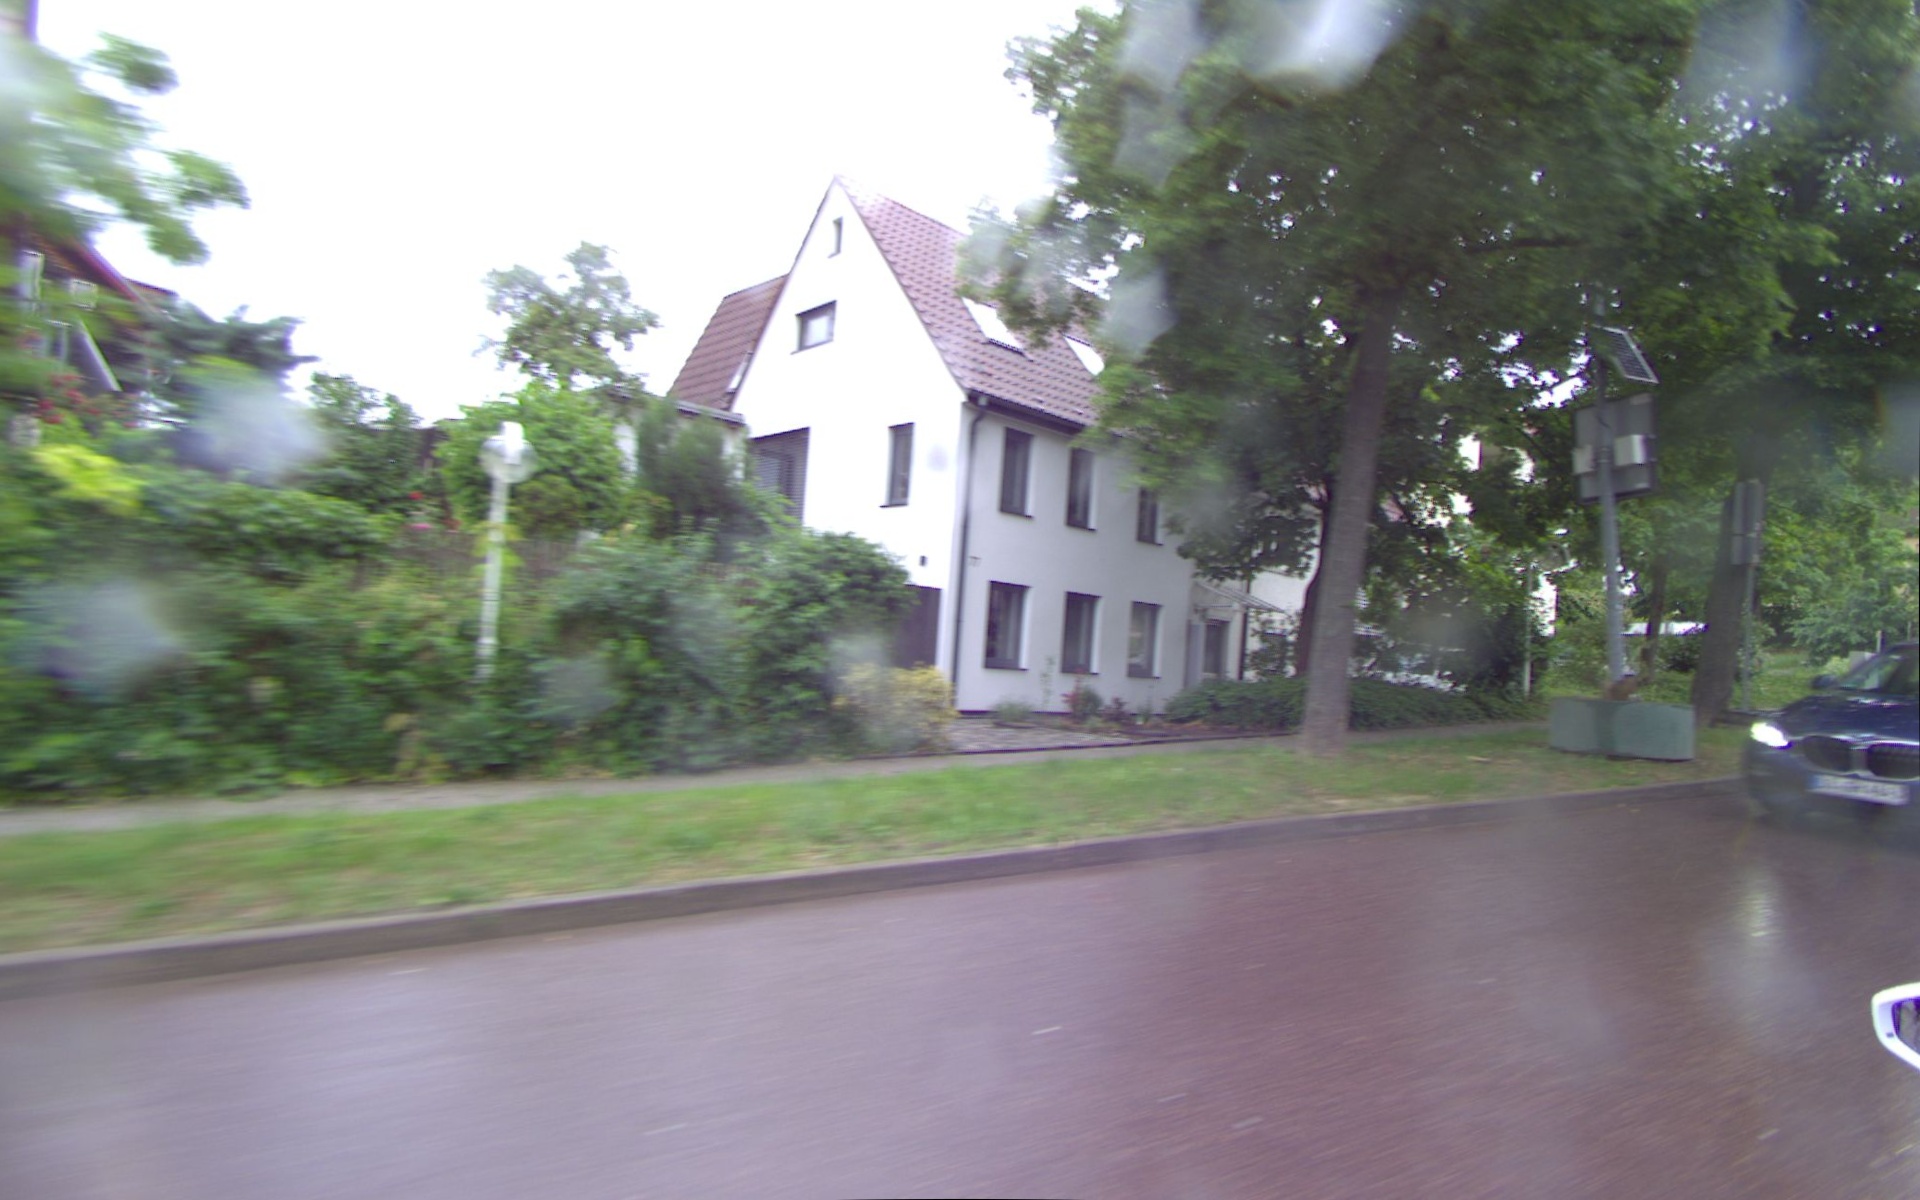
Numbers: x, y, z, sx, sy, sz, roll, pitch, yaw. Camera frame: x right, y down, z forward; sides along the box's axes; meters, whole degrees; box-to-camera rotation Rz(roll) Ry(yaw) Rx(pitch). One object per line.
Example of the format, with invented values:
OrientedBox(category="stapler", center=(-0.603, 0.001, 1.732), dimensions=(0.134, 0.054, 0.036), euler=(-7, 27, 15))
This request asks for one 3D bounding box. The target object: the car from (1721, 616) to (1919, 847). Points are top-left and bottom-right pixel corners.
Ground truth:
OrientedBox(category="car", center=(7.842, 0.910, 7.634), dimensions=(4.013, 1.460, 1.757), euler=(2, 0, -28))

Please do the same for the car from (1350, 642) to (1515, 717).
OrientedBox(category="car", center=(10.098, 1.618, 21.392), dimensions=(3.421, 1.347, 1.976), euler=(2, 0, -42))

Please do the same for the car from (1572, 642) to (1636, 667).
OrientedBox(category="car", center=(37.992, 3.191, 59.346), dimensions=(1.687, 1.270, 3.977), euler=(2, 0, 9))
